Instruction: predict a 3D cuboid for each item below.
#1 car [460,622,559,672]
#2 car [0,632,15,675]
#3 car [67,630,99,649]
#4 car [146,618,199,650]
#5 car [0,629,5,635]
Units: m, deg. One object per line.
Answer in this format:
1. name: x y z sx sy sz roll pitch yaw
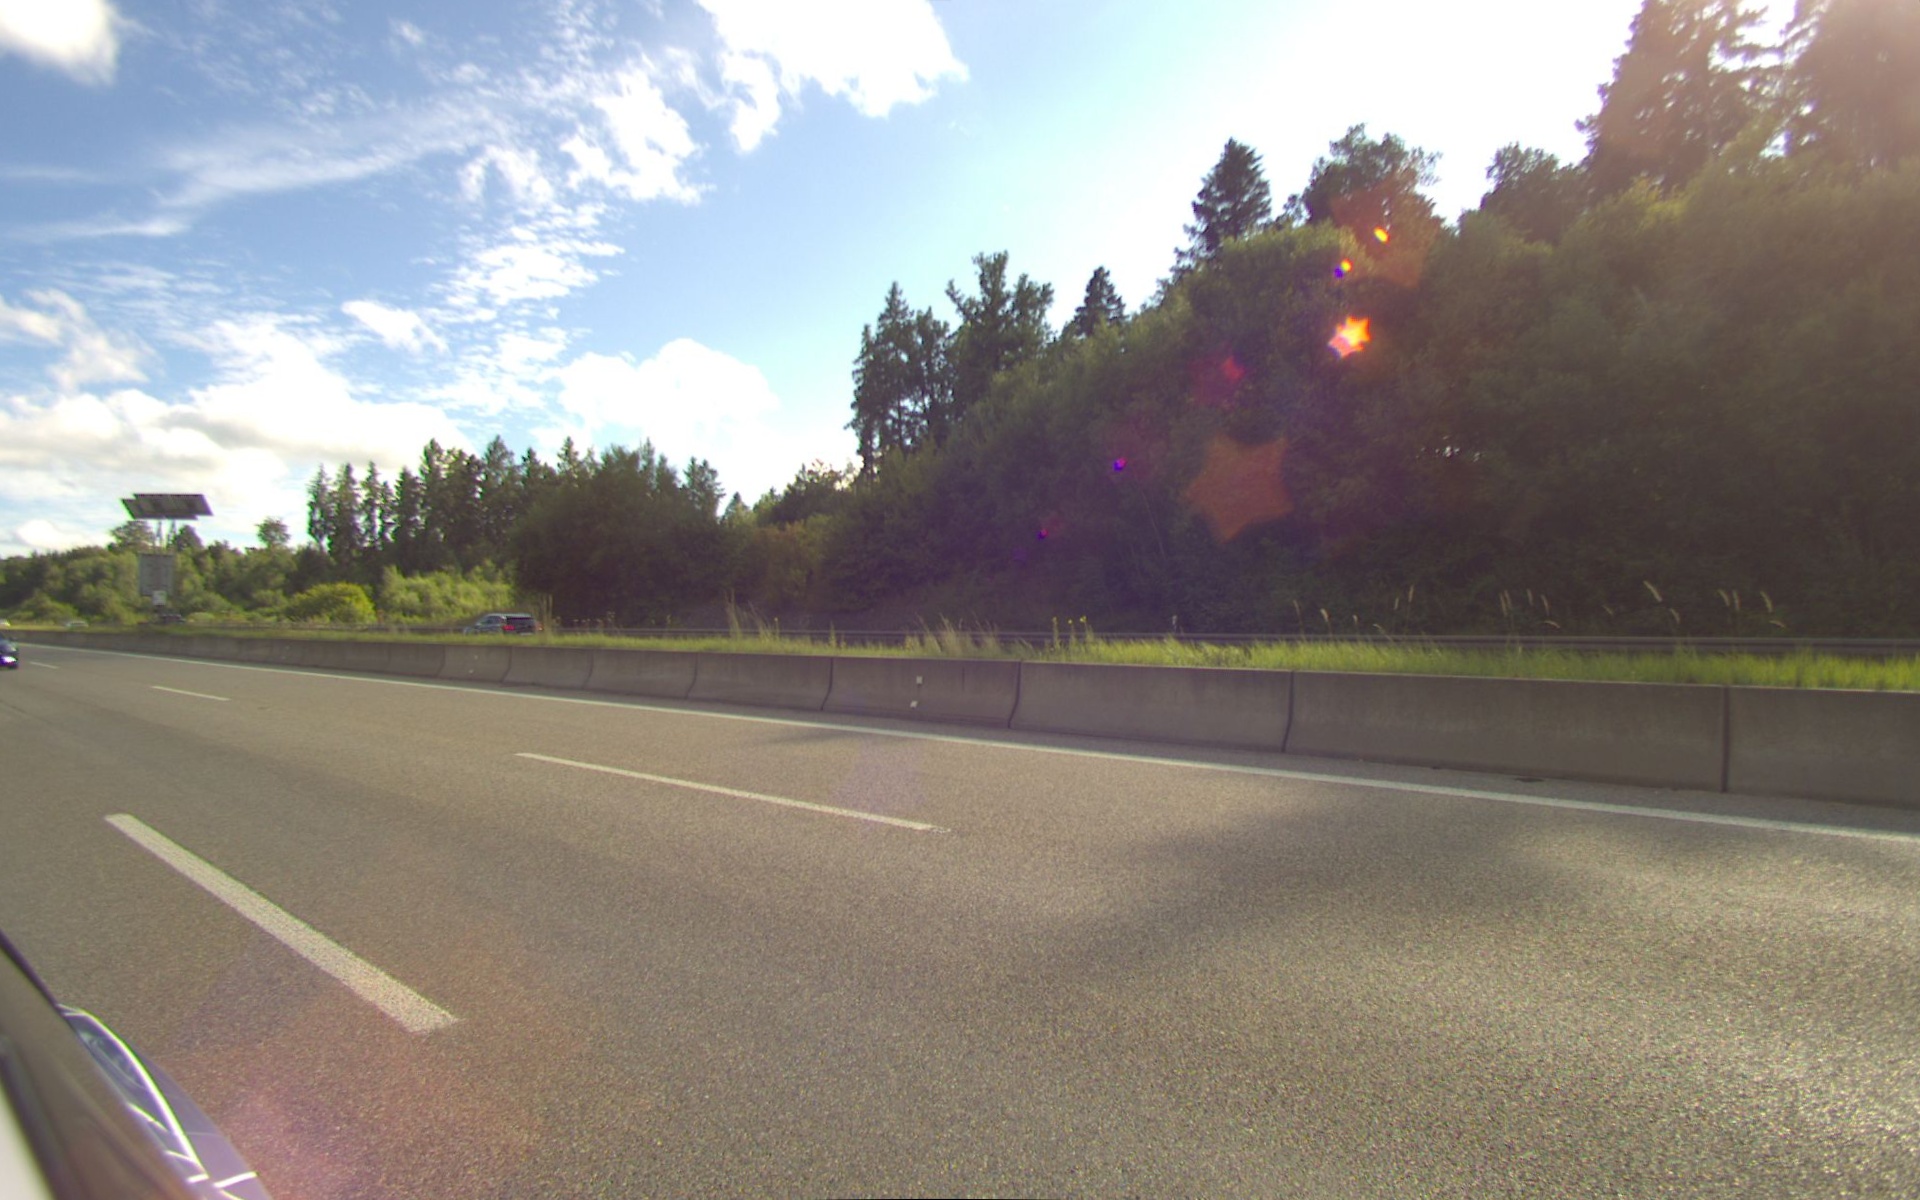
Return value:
1. car: -18.202 1.852 40.814 4.435 1.895 1.973 -2 -1 41
2. car: -30.757 1.659 31.405 4.197 1.293 1.726 -2 -1 42
3. car: -92.926 4.133 107.217 4.427 1.920 1.906 -1 -1 41
4. car: -51.530 2.214 66.219 4.069 2.029 1.973 -2 -1 41
5. car: -162.596 5.387 170.905 3.172 1.102 1.575 -2 -1 42
